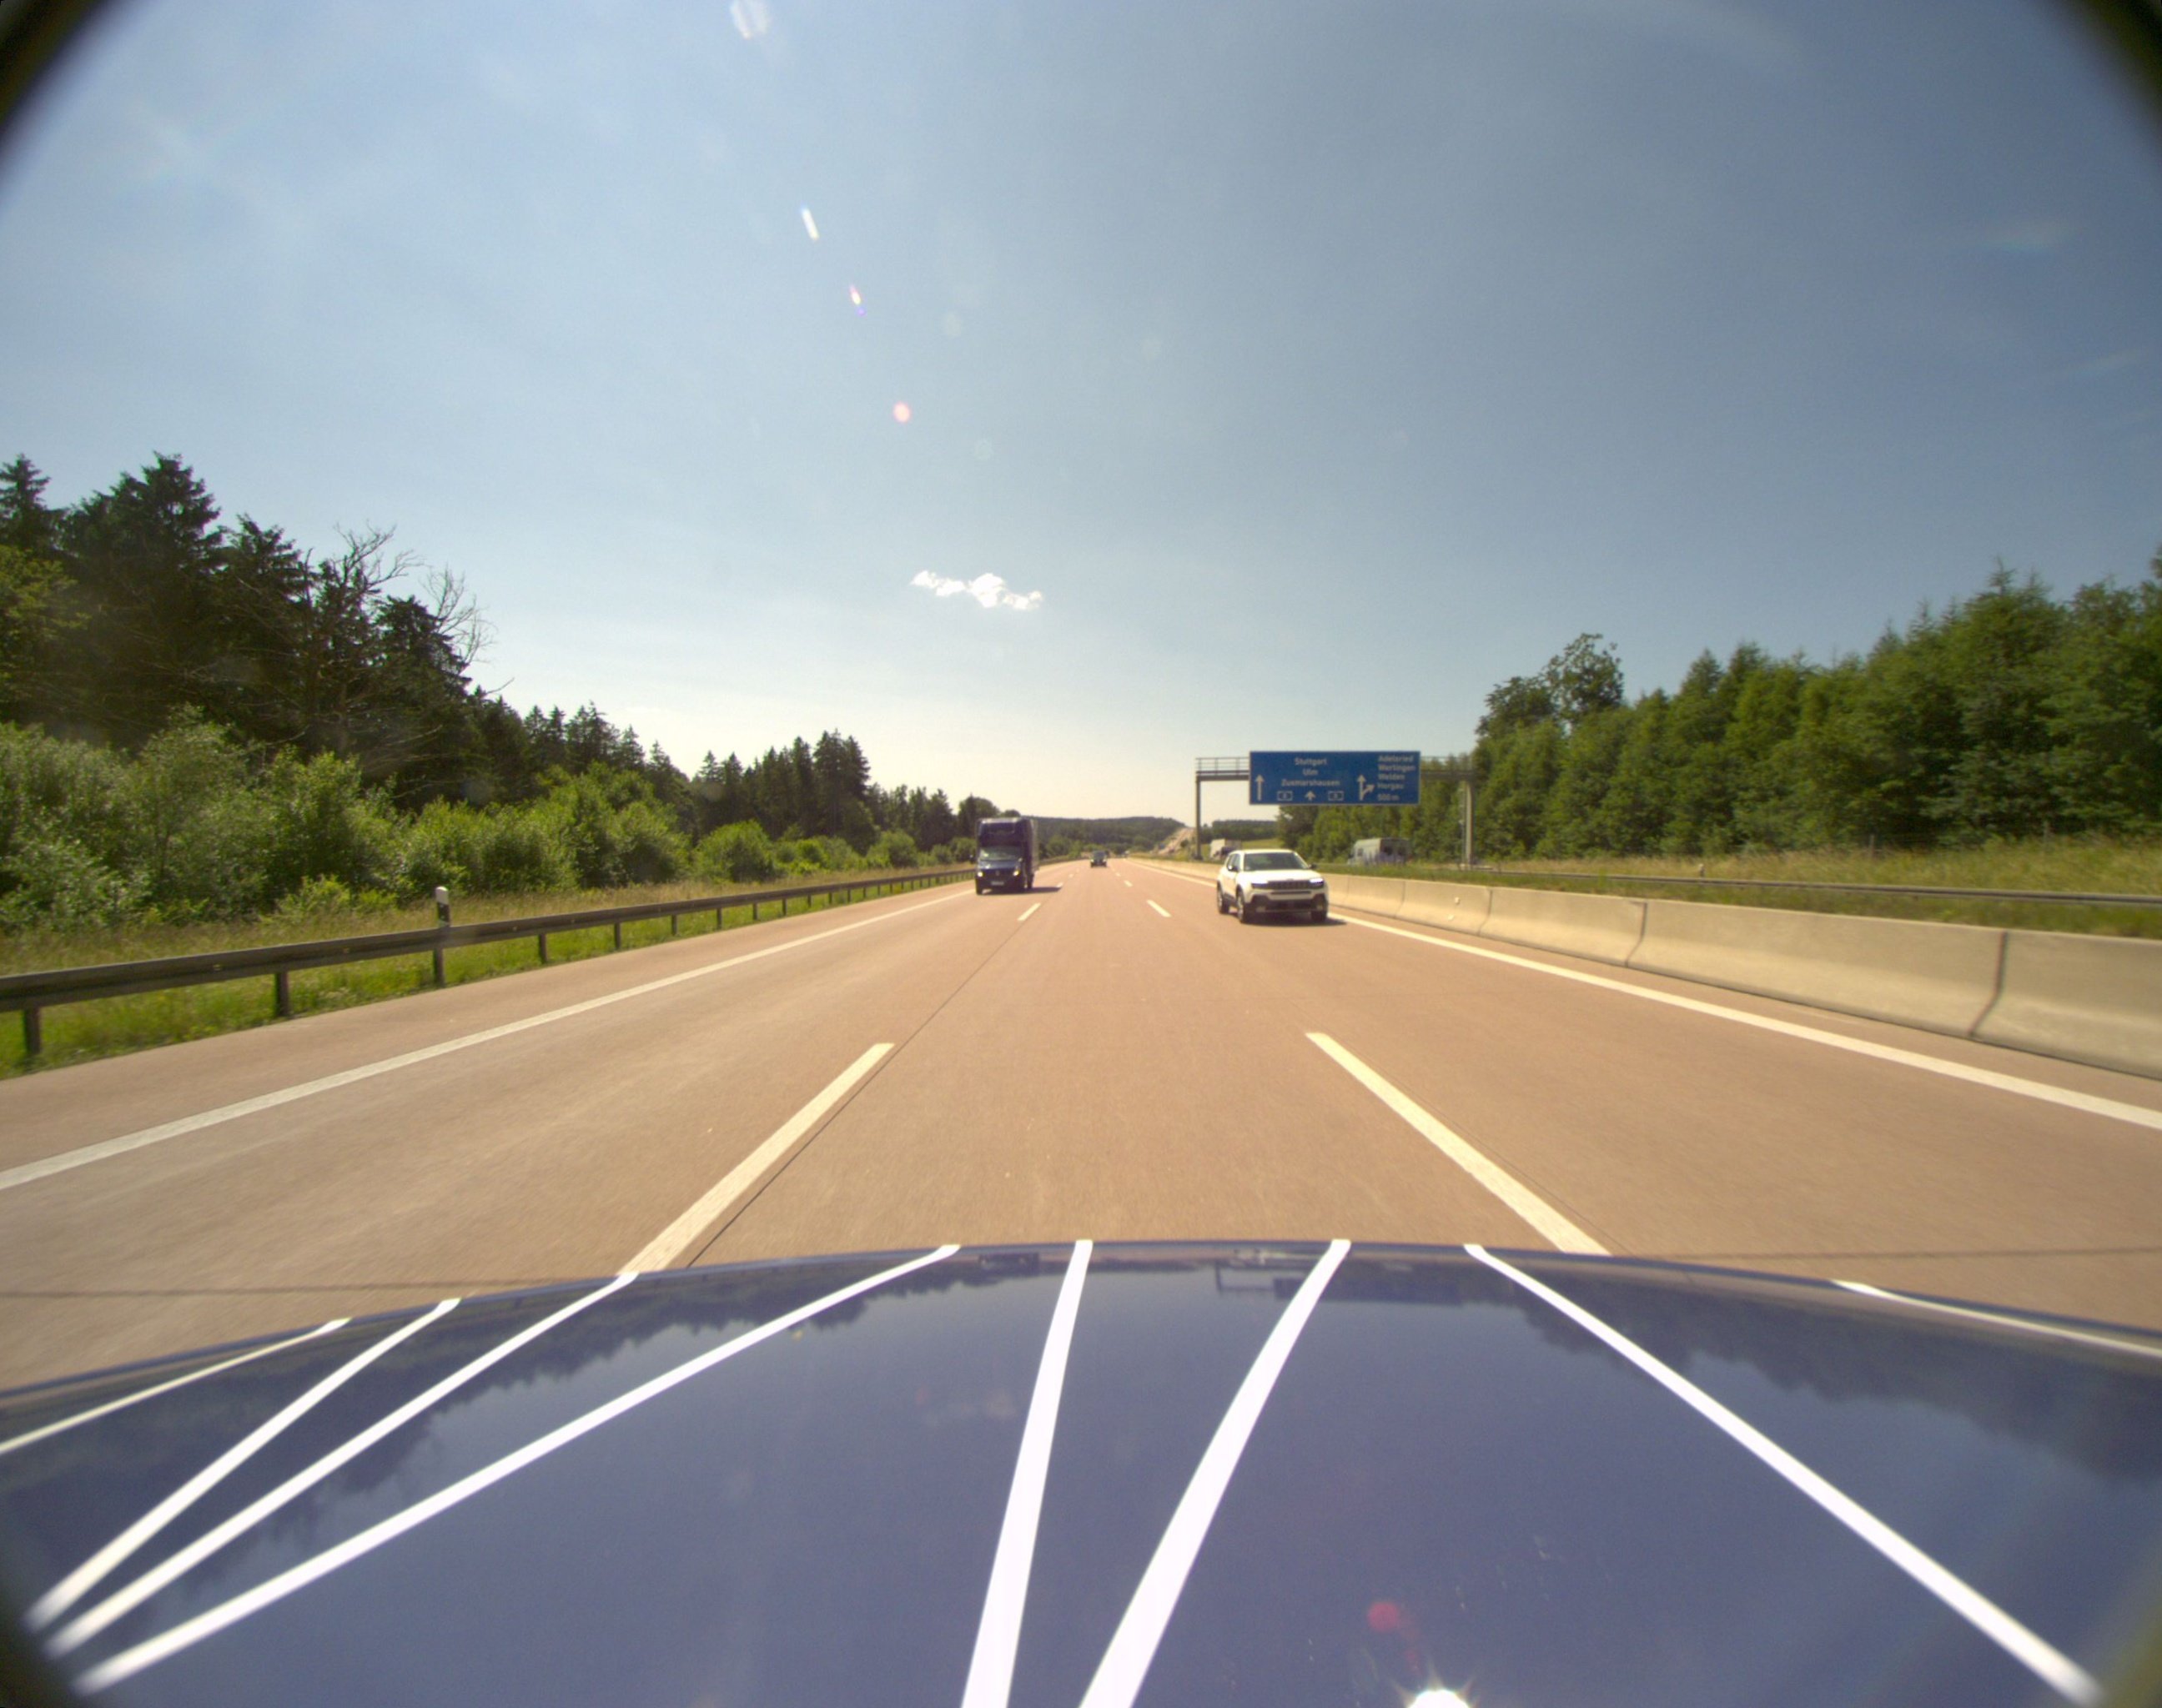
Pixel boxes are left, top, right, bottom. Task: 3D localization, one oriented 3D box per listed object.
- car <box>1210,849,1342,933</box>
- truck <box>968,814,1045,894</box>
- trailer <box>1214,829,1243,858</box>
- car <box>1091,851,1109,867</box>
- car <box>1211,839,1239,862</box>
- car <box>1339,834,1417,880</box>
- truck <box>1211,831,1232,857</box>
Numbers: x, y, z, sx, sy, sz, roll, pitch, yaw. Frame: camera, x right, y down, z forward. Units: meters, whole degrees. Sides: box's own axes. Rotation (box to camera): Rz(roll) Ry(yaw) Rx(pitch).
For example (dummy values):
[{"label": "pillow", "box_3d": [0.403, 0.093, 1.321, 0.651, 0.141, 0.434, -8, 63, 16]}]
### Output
[{"label": "car", "box_3d": [4.202, 0.711, 17.219, 1.883, 1.598, 4.834, -1, 0, 2]}, {"label": "truck", "box_3d": [-3.232, -0.009, 34.744, 2.508, 3.199, 7.784, -1, 0, 1]}, {"label": "trailer", "box_3d": [23.686, -1.654, 122.804, 2.709, 4.408, 13.194, -2, 0, 3]}, {"label": "car", "box_3d": [2.289, 0.548, 91.087, 1.998, 1.805, 4.565, -2, 0, 2]}, {"label": "car", "box_3d": [17.485, -0.428, 92.571, 2.238, 2.670, 6.098, -2, 0, 1]}, {"label": "car", "box_3d": [18.753, 0.161, 48.468, 2.238, 2.670, 6.887, -2, 0, 0]}, {"label": "truck", "box_3d": [24.019, -1.691, 130.193, 2.709, 4.355, 6.478, -1, 0, 3]}]
